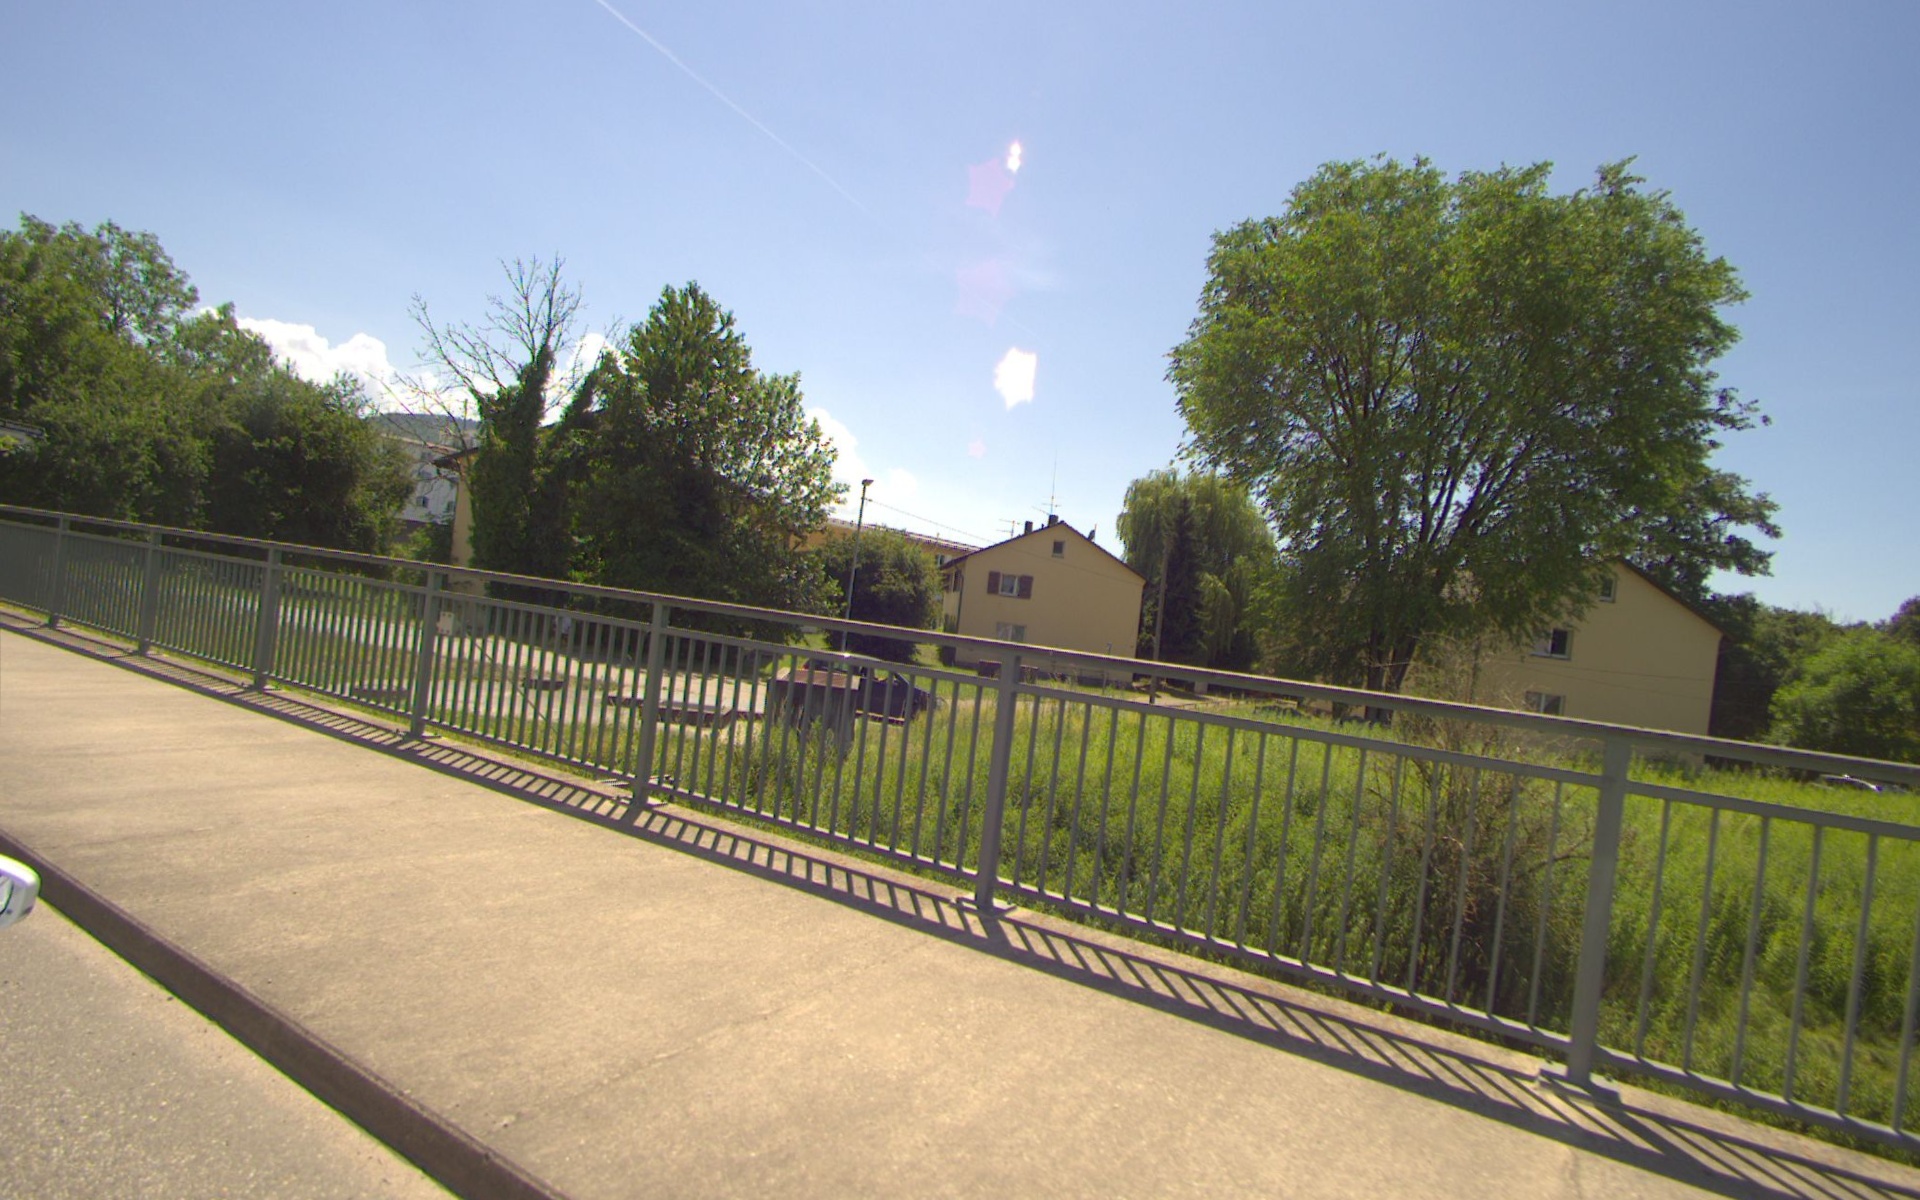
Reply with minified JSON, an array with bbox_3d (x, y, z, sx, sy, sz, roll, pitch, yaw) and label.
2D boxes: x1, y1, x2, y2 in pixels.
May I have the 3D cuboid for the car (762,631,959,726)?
[{"bbox_3d":[-2.411,1.888,24.598,4.434,1.644,1.998,7,0,-6],"label":"car"}]

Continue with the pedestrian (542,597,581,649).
[{"bbox_3d":[-11.672,0.676,29.470,0.838,1.412,0.679,10,4,44],"label":"pedestrian"}]
